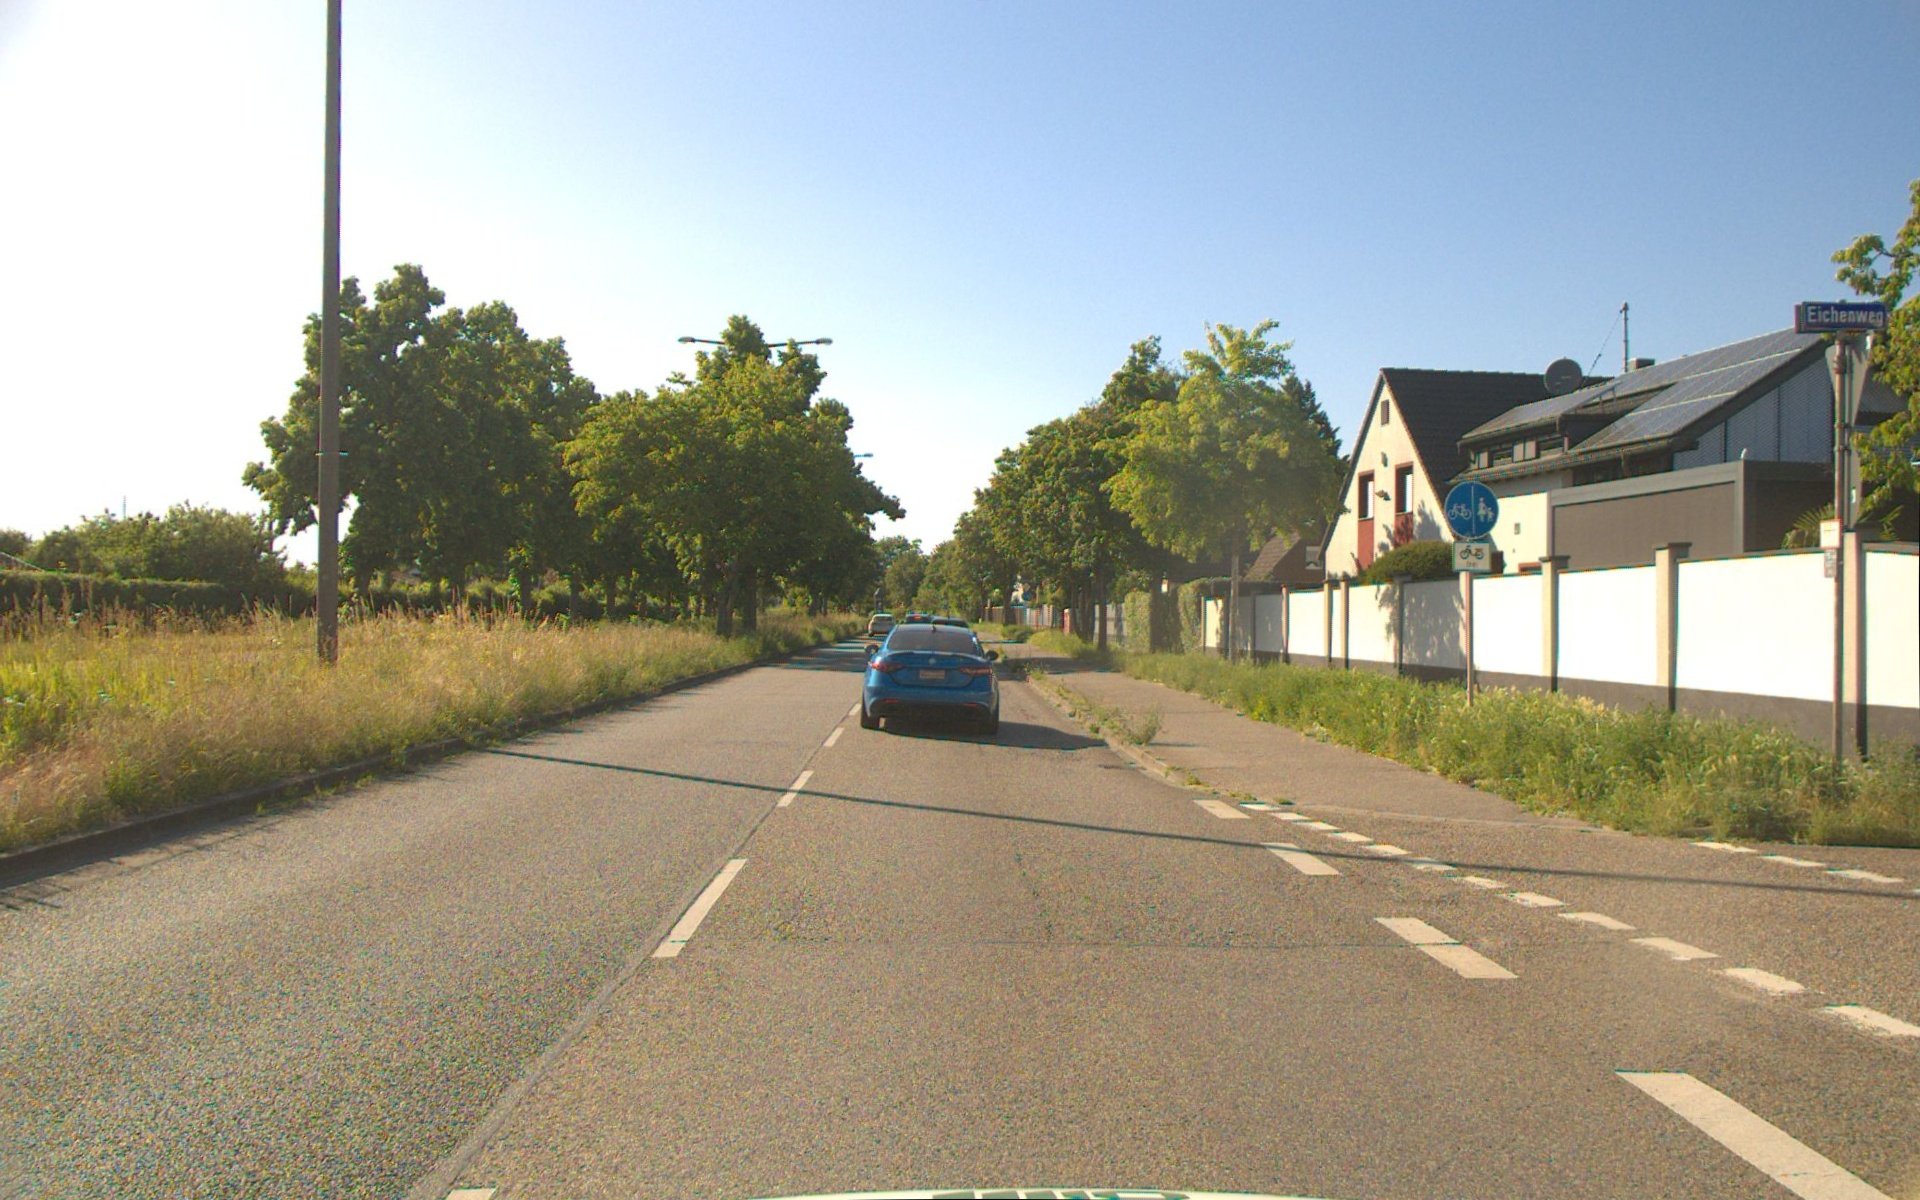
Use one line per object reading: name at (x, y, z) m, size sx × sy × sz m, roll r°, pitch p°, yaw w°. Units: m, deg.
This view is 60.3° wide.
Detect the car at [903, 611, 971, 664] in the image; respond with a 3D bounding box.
car at (-0.797, 1.193, 54.177) m, size 1.878 × 1.607 × 4.177 m, roll 1°, pitch 0°, yaw -5°

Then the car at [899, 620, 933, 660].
car at (-2.365, 2.118, 89.414) m, size 1.756 × 2.049 × 3.998 m, roll 2°, pitch -1°, yaw -2°

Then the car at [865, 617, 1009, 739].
car at (-0.304, 1.043, 23.554) m, size 1.801 × 1.500 × 4.183 m, roll 3°, pitch -1°, yaw 0°

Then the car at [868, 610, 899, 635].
car at (-4.948, 1.450, 106.782) m, size 1.877 × 1.539 × 4.065 m, roll 1°, pitch 0°, yaw -3°
